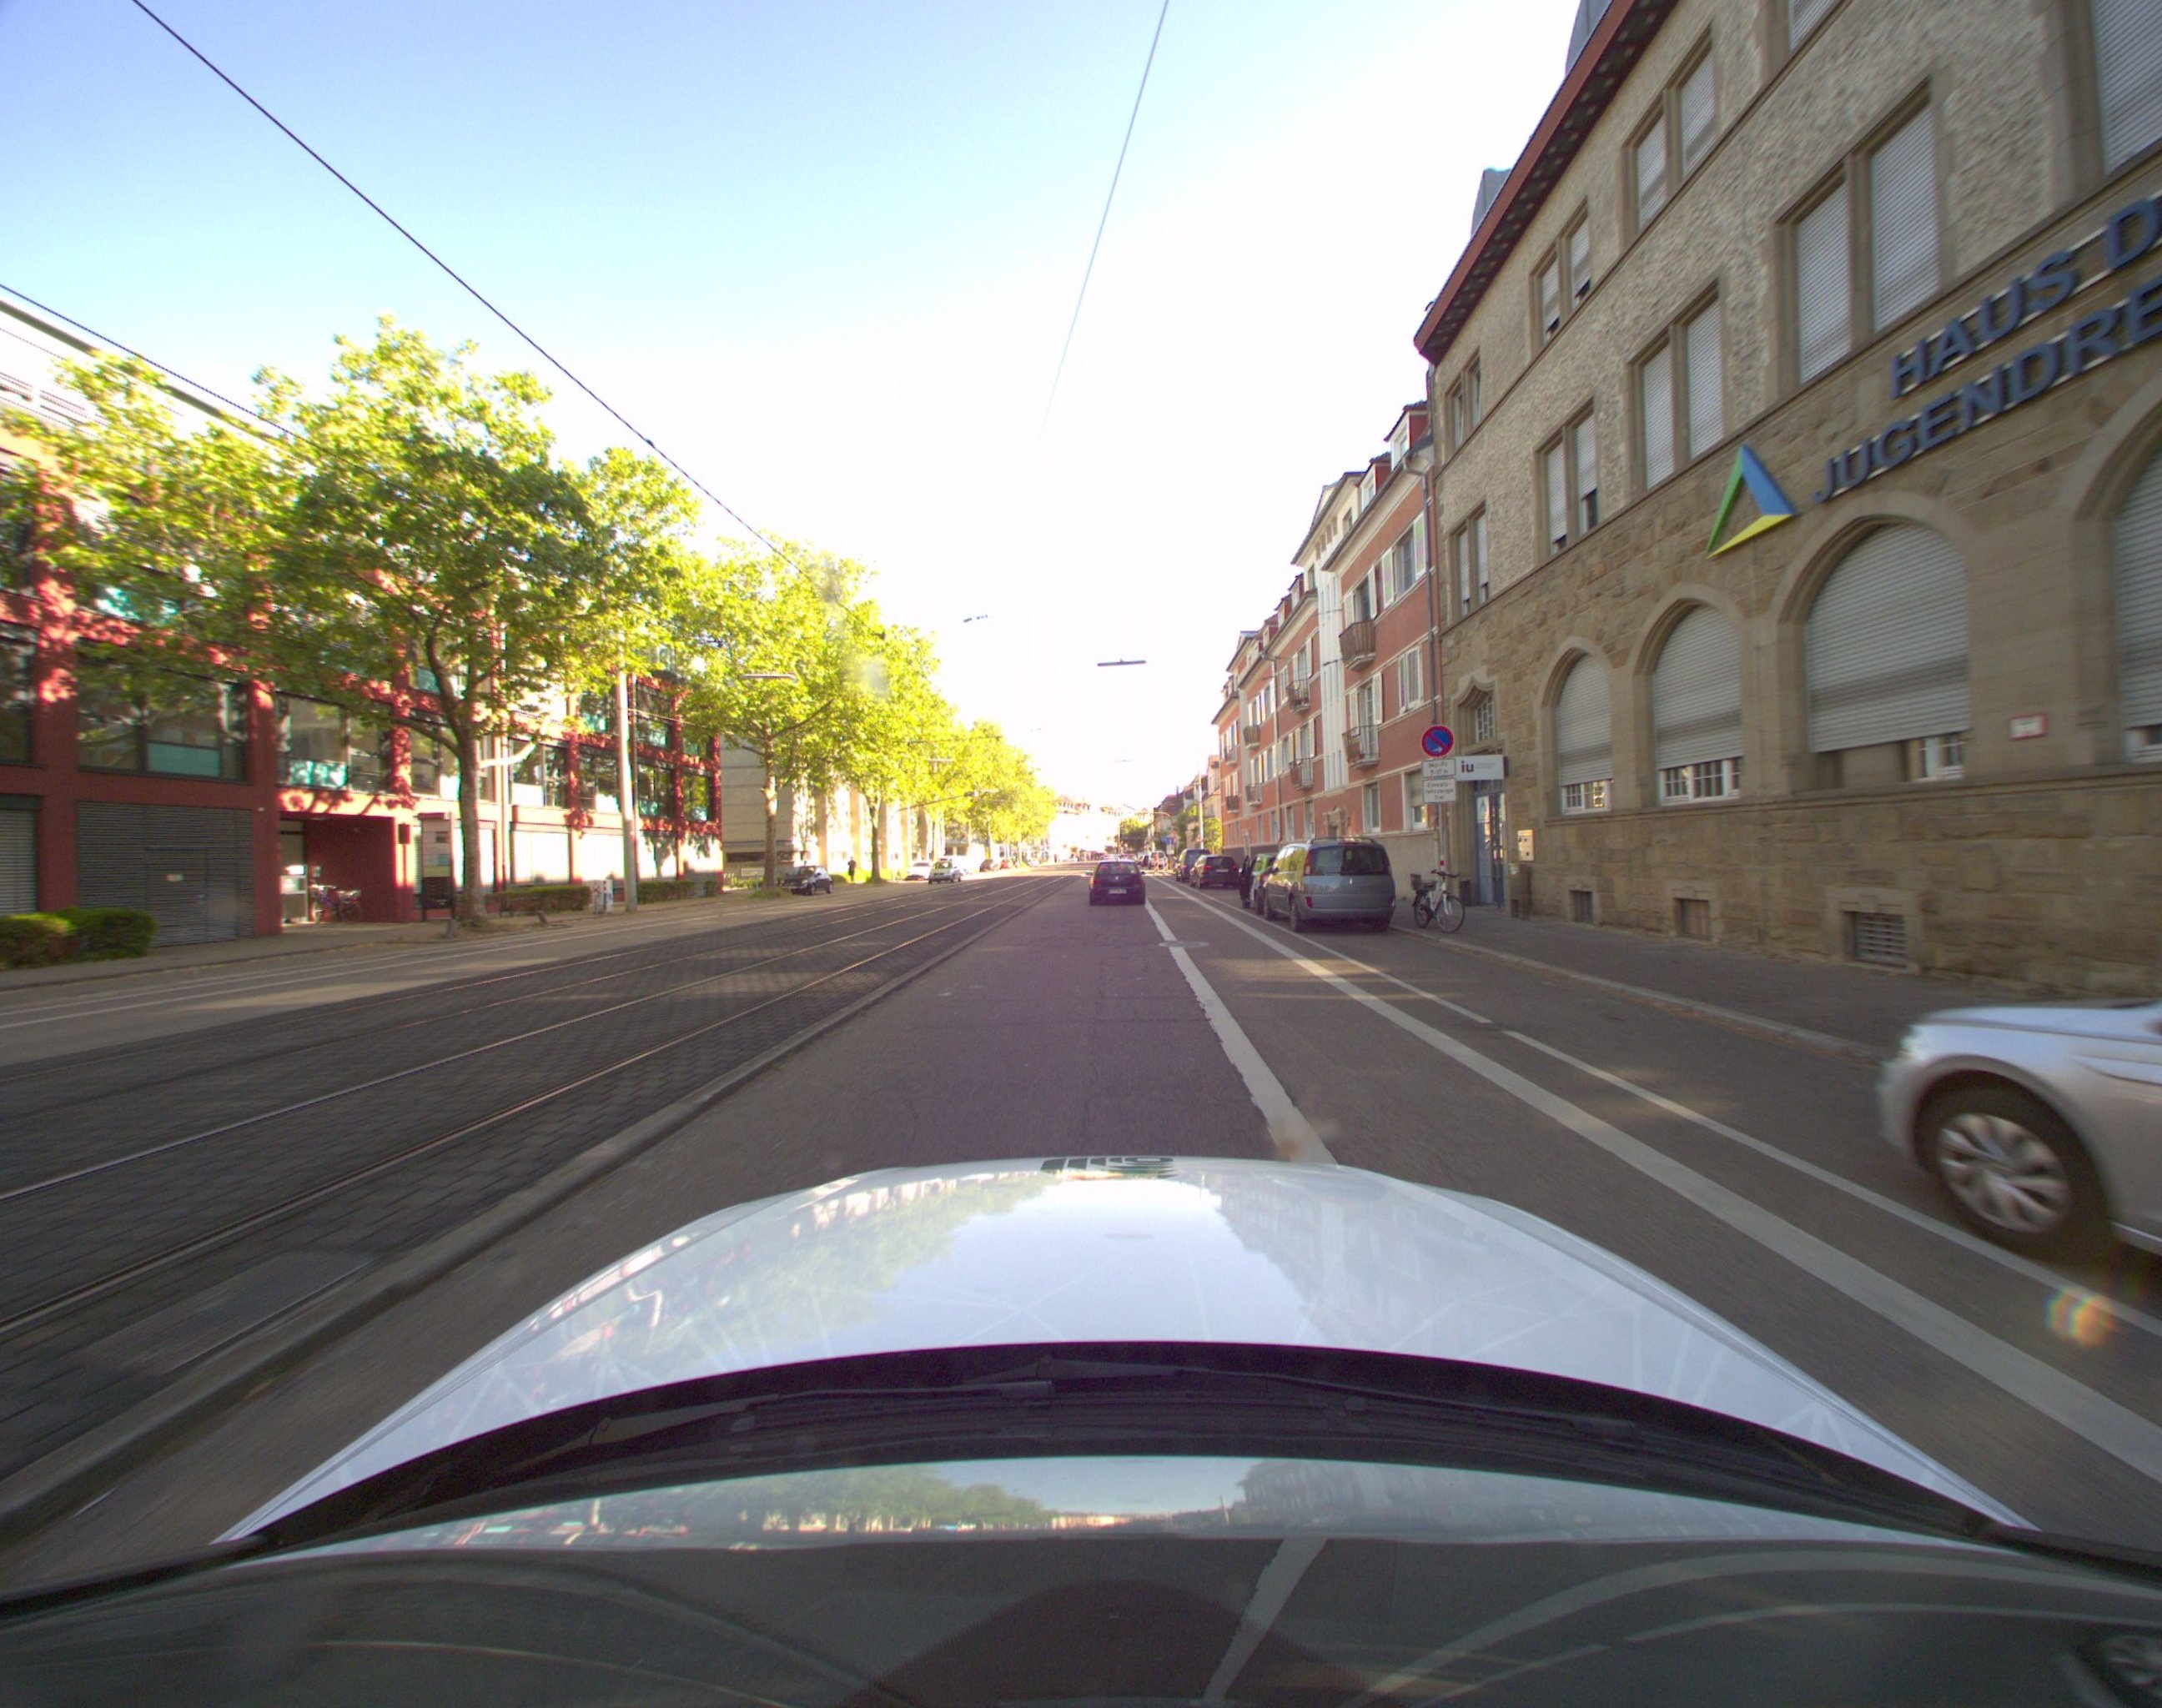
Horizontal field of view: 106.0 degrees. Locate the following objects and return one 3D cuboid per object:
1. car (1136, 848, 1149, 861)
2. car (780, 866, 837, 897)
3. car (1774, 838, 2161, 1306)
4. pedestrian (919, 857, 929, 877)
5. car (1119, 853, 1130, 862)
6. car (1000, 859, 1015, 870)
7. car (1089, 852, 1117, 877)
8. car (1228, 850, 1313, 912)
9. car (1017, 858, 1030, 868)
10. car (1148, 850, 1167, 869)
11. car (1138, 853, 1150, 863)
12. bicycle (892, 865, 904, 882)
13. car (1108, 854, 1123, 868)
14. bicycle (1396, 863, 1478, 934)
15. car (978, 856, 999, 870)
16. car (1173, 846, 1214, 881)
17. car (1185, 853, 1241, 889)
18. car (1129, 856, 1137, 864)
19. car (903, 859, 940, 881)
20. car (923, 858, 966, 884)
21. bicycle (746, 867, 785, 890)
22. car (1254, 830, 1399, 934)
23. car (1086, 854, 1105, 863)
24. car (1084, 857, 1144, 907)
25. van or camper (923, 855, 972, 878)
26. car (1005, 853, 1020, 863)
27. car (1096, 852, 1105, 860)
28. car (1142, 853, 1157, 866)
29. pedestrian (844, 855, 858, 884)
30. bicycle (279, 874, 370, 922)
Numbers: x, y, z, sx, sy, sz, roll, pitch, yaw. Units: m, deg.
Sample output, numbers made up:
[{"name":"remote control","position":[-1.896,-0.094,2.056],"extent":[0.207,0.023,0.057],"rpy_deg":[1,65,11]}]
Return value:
[{"name":"car","position":[9.301,0.059,122.810],"extent":[1.810,1.799,4.002],"rpy_deg":[-2,0,2]},{"name":"car","position":[-13.567,1.339,40.783],"extent":[1.501,1.454,3.466],"rpy_deg":[-1,-1,3]},{"name":"car","position":[4.303,0.703,2.024],"extent":[1.707,1.501,4.228],"rpy_deg":[0,0,2]},{"name":"pedestrian","position":[-14.836,1.239,77.101],"extent":[0.793,1.820,0.671],"rpy_deg":[0,0,2]},{"name":"car","position":[7.351,0.529,137.785],"extent":[1.629,1.472,3.731],"rpy_deg":[-2,0,2]},{"name":"car","position":[-10.464,1.505,116.095],"extent":[1.564,1.533,3.574],"rpy_deg":[-2,-1,2]},{"name":"car","position":[1.534,0.697,55.594],"extent":[1.741,1.537,3.894],"rpy_deg":[-2,0,3]},{"name":"car","position":[4.956,0.663,21.703],"extent":[1.624,1.511,3.720],"rpy_deg":[0,0,3]},{"name":"car","position":[-10.175,1.609,144.842],"extent":[1.877,1.669,3.805],"rpy_deg":[0,0,1]},{"name":"car","position":[7.546,0.542,80.441],"extent":[1.752,1.838,3.549],"rpy_deg":[0,0,2]},{"name":"car","position":[9.121,0.629,118.042],"extent":[1.574,1.375,4.002],"rpy_deg":[-2,0,2]},{"name":"bicycle","position":[-13.316,1.397,59.390],"extent":[0.580,1.209,1.652],"rpy_deg":[0,0,-4]},{"name":"car","position":[3.781,0.793,88.848],"extent":[1.629,1.472,3.731],"rpy_deg":[-2,0,2]},{"name":"bicycle","position":[6.414,0.760,14.821],"extent":[0.513,1.139,2.259],"rpy_deg":[-3,0,2]},{"name":"car","position":[-11.299,1.103,99.614],"extent":[1.880,1.666,4.002],"rpy_deg":[-2,0,2]},{"name":"car","position":[6.176,0.512,45.153],"extent":[1.696,1.810,4.272],"rpy_deg":[-1,0,1]},{"name":"car","position":[5.866,0.707,36.645],"extent":[1.748,1.511,4.762],"rpy_deg":[0,0,0]},{"name":"car","position":[10.493,1.226,164.406],"extent":[1.661,1.598,3.652],"rpy_deg":[-1,0,2]},{"name":"car","position":[-12.664,1.239,64.959],"extent":[2.005,1.572,4.694],"rpy_deg":[0,0,1]},{"name":"car","position":[-8.966,1.098,53.882],"extent":[1.744,1.518,4.077],"rpy_deg":[-3,0,5]},{"name":"bicycle","position":[-18.298,1.408,47.269],"extent":[2.000,1.278,0.664],"rpy_deg":[0,0,2]},{"name":"car","position":[4.926,0.503,17.041],"extent":[1.746,1.855,4.818],"rpy_deg":[-1,0,2]},{"name":"car","position":[3.196,0.935,184.272],"extent":[3.986,2.013,1.994],"rpy_deg":[0,0,-9]},{"name":"car","position":[1.012,0.824,25.949],"extent":[1.742,1.375,4.001],"rpy_deg":[-2,0,1]},{"name":"van or camper","position":[-12.309,1.103,75.311],"extent":[2.042,1.949,5.217],"rpy_deg":[0,0,22]},{"name":"car","position":[-10.574,0.615,125.685],"extent":[1.785,1.465,3.838],"rpy_deg":[1,0,2]},{"name":"car","position":[3.842,0.450,162.009],"extent":[1.630,1.472,3.731],"rpy_deg":[-6,0,2]},{"name":"car","position":[8.409,0.707,100.194],"extent":[1.654,1.526,4.038],"rpy_deg":[-2,0,2]},{"name":"pedestrian","position":[-15.124,0.986,53.518],"extent":[0.789,1.870,0.665],"rpy_deg":[0,0,-26]},{"name":"bicycle","position":[-21.012,1.211,22.634],"extent":[2.053,1.272,0.619],"rpy_deg":[0,0,4]}]
